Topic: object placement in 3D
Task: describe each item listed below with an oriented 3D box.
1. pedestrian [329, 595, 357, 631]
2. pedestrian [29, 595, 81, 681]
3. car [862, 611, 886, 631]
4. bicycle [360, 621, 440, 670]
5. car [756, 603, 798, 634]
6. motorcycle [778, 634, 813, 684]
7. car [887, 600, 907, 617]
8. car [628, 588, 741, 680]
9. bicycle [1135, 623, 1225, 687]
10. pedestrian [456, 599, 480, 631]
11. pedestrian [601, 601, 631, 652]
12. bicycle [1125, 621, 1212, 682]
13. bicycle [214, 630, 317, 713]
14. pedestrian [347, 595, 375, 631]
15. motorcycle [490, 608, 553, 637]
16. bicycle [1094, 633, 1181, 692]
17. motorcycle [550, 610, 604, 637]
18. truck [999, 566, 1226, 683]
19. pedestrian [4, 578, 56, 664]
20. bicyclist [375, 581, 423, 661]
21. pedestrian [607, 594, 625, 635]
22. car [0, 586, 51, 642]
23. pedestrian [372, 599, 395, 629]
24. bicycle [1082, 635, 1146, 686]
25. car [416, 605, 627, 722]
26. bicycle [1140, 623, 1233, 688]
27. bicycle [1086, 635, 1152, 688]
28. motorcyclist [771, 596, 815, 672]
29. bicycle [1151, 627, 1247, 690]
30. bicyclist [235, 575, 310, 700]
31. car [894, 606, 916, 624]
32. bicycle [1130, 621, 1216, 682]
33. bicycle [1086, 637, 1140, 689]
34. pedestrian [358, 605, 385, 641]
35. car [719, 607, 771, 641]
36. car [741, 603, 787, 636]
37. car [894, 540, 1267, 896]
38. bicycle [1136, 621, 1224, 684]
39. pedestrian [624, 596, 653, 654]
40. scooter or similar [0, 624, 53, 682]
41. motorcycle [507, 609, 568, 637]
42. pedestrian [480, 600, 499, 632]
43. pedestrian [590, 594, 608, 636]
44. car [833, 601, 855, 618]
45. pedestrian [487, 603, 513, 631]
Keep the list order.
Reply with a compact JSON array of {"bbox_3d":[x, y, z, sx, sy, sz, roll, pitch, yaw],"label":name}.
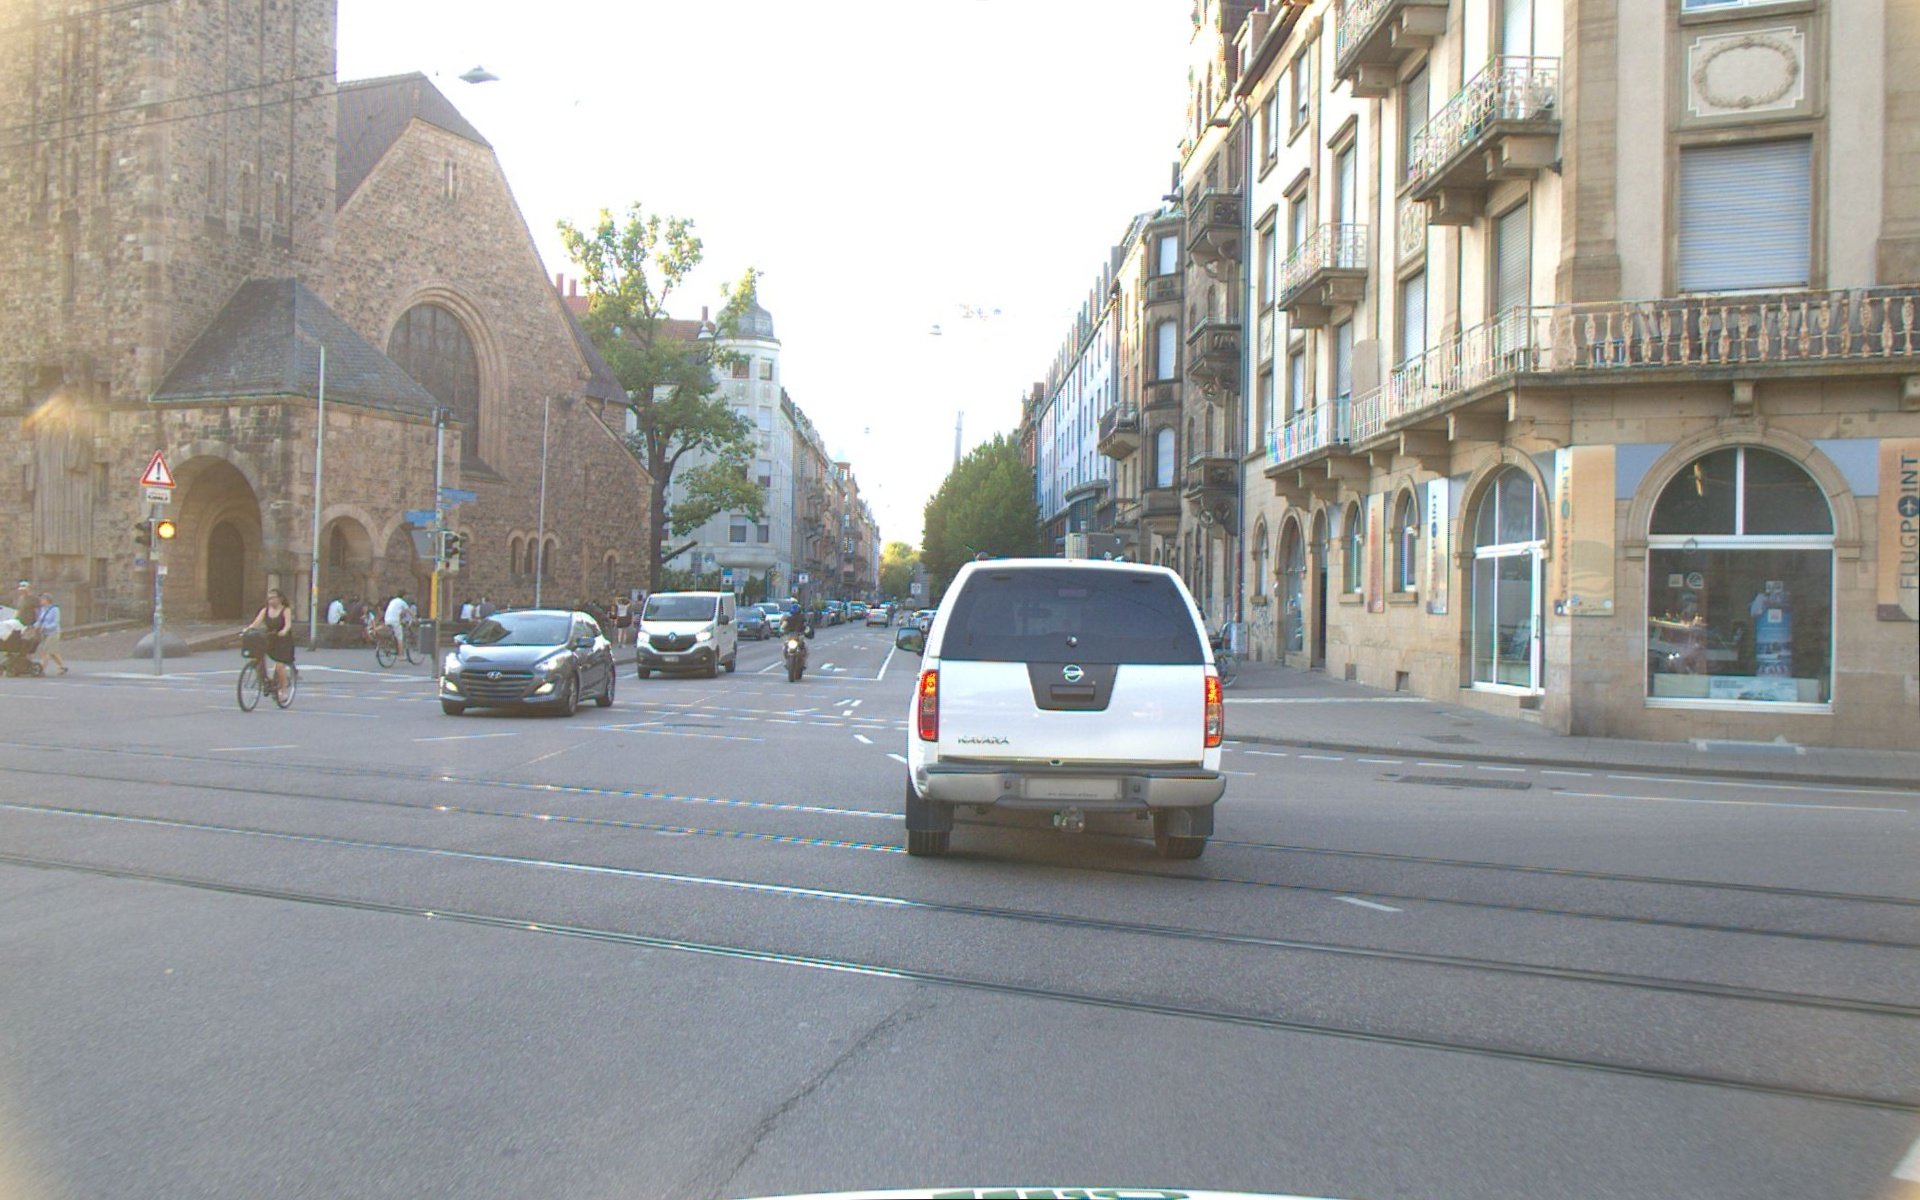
[{"bbox_3d":[-17.109,0.349,45.847,0.511,0.977,0.479,2,-1,19],"label":"pedestrian"},{"bbox_3d":[-18.470,0.773,33.769,0.620,1.728,0.603,2,-1,11],"label":"pedestrian"},{"bbox_3d":[-7.065,1.713,135.454,1.822,1.556,3.997,2,-1,-4],"label":"car"},{"bbox_3d":[-13.383,1.067,39.589,0.642,1.096,2.246,2,0,15],"label":"bicycle"},{"bbox_3d":[-9.836,0.984,89.217,1.821,1.556,3.999,2,-1,-1],"label":"car"},{"bbox_3d":[-3.688,1.307,37.215,0.587,1.062,1.945,2,-1,-1],"label":"motorcycle"},{"bbox_3d":[-6.012,0.838,157.712,1.882,1.556,3.998,2,-1,-3],"label":"car"},{"bbox_3d":[-6.530,0.798,39.764,1.953,2.049,4.949,1,-1,-1],"label":"car"},{"bbox_3d":[4.613,1.142,34.706,1.781,1.259,0.477,-2,-1,-2],"label":"bicycle"},{"bbox_3d":[-15.250,0.472,51.277,0.510,0.977,0.479,2,-1,17],"label":"pedestrian"},{"bbox_3d":[-11.723,0.893,56.343,0.796,1.699,0.859,2,-1,-2],"label":"pedestrian"},{"bbox_3d":[4.602,1.129,36.568,1.818,1.259,0.530,-2,-1,-2],"label":"bicycle"},{"bbox_3d":[-9.526,0.962,22.750,0.587,1.062,1.945,2,-1,-1],"label":"bicycle"},{"bbox_3d":[-16.499,0.367,45.571,0.511,0.977,0.479,2,-1,19],"label":"pedestrian"},{"bbox_3d":[-16.577,0.858,62.566,2.200,1.005,0.707,2,-1,-6],"label":"motorcycle"},{"bbox_3d":[3.599,1.263,33.519,1.692,1.102,0.317,-2,-1,-2],"label":"bicycle"},{"bbox_3d":[-15.474,0.943,66.879,2.120,1.005,0.594,2,-1,20],"label":"motorcycle"},{"bbox_3d":[3.728,0.594,39.621,5.628,2.610,2.251,2,-1,-44],"label":"truck"},{"bbox_3d":[-19.092,0.423,33.969,0.620,1.728,0.603,2,-1,15],"label":"pedestrian"},{"bbox_3d":[-13.402,0.501,39.516,0.642,1.859,0.860,2,-1,15],"label":"bicyclist"},{"bbox_3d":[-14.699,0.618,70.695,0.629,1.725,0.562,2,-1,-1],"label":"pedestrian"},{"bbox_3d":[-27.610,0.347,45.455,1.680,1.543,4.453,2,-1,24],"label":"car"},{"bbox_3d":[-19.441,0.479,55.798,0.541,0.977,0.708,2,-1,-6],"label":"pedestrian"},{"bbox_3d":[3.327,1.308,35.661,1.306,1.042,0.317,-2,-1,-2],"label":"bicycle"},{"bbox_3d":[-6.116,0.826,23.567,1.953,1.503,4.138,0,0,-1],"label":"car"},{"bbox_3d":[4.650,1.131,33.995,1.781,1.259,0.488,-2,-1,-2],"label":"bicycle"},{"bbox_3d":[3.374,1.302,35.114,1.344,1.042,0.317,-2,-1,-2],"label":"bicycle"},{"bbox_3d":[-3.754,0.768,37.343,0.857,1.673,0.963,2,-1,-1],"label":"motorcyclist"},{"bbox_3d":[4.770,1.169,33.054,1.781,1.170,0.636,-2,-1,-2],"label":"bicycle"},{"bbox_3d":[-9.441,0.509,22.735,0.587,1.673,0.963,2,-1,-1],"label":"bicyclist"},{"bbox_3d":[-4.850,1.315,147.395,1.821,1.556,3.999,2,-1,-1],"label":"car"},{"bbox_3d":[4.644,1.123,36.037,1.781,1.259,0.410,-2,-1,-2],"label":"bicycle"},{"bbox_3d":[3.184,1.304,34.402,1.055,1.042,0.317,-2,-1,-2],"label":"bicycle"},{"bbox_3d":[-16.629,0.656,46.738,0.469,0.977,0.522,1,-1,30],"label":"pedestrian"},{"bbox_3d":[-9.660,1.053,74.439,1.821,1.422,3.999,2,-1,-1],"label":"car"},{"bbox_3d":[-9.770,0.986,82.635,1.821,1.556,3.999,2,-1,-1],"label":"car"},{"bbox_3d":[0.655,0.657,10.916,1.953,1.841,4.000,2,-1,0],"label":"car"},{"bbox_3d":[4.713,1.119,35.432,1.781,1.259,0.412,-2,-1,-2],"label":"bicycle"},{"bbox_3d":[-10.957,0.853,56.425,0.796,1.934,0.666,2,-1,-2],"label":"pedestrian"},{"bbox_3d":[-18.726,1.050,32.898,0.620,1.122,1.079,2,-1,11],"label":"scooter or similar"},{"bbox_3d":[-16.481,0.883,64.593,2.200,1.005,0.707,2,-1,-6],"label":"motorcycle"},{"bbox_3d":[-14.526,0.495,51.080,0.513,0.977,0.477,2,-1,-16],"label":"pedestrian"},{"bbox_3d":[-14.917,0.627,68.394,0.631,1.725,0.561,2,-1,-9],"label":"pedestrian"},{"bbox_3d":[-10.892,0.924,155.343,1.821,1.556,3.999,2,-1,-1],"label":"car"},{"bbox_3d":[-16.594,0.618,59.654,0.540,0.977,0.709,2,-1,21],"label":"pedestrian"}]
